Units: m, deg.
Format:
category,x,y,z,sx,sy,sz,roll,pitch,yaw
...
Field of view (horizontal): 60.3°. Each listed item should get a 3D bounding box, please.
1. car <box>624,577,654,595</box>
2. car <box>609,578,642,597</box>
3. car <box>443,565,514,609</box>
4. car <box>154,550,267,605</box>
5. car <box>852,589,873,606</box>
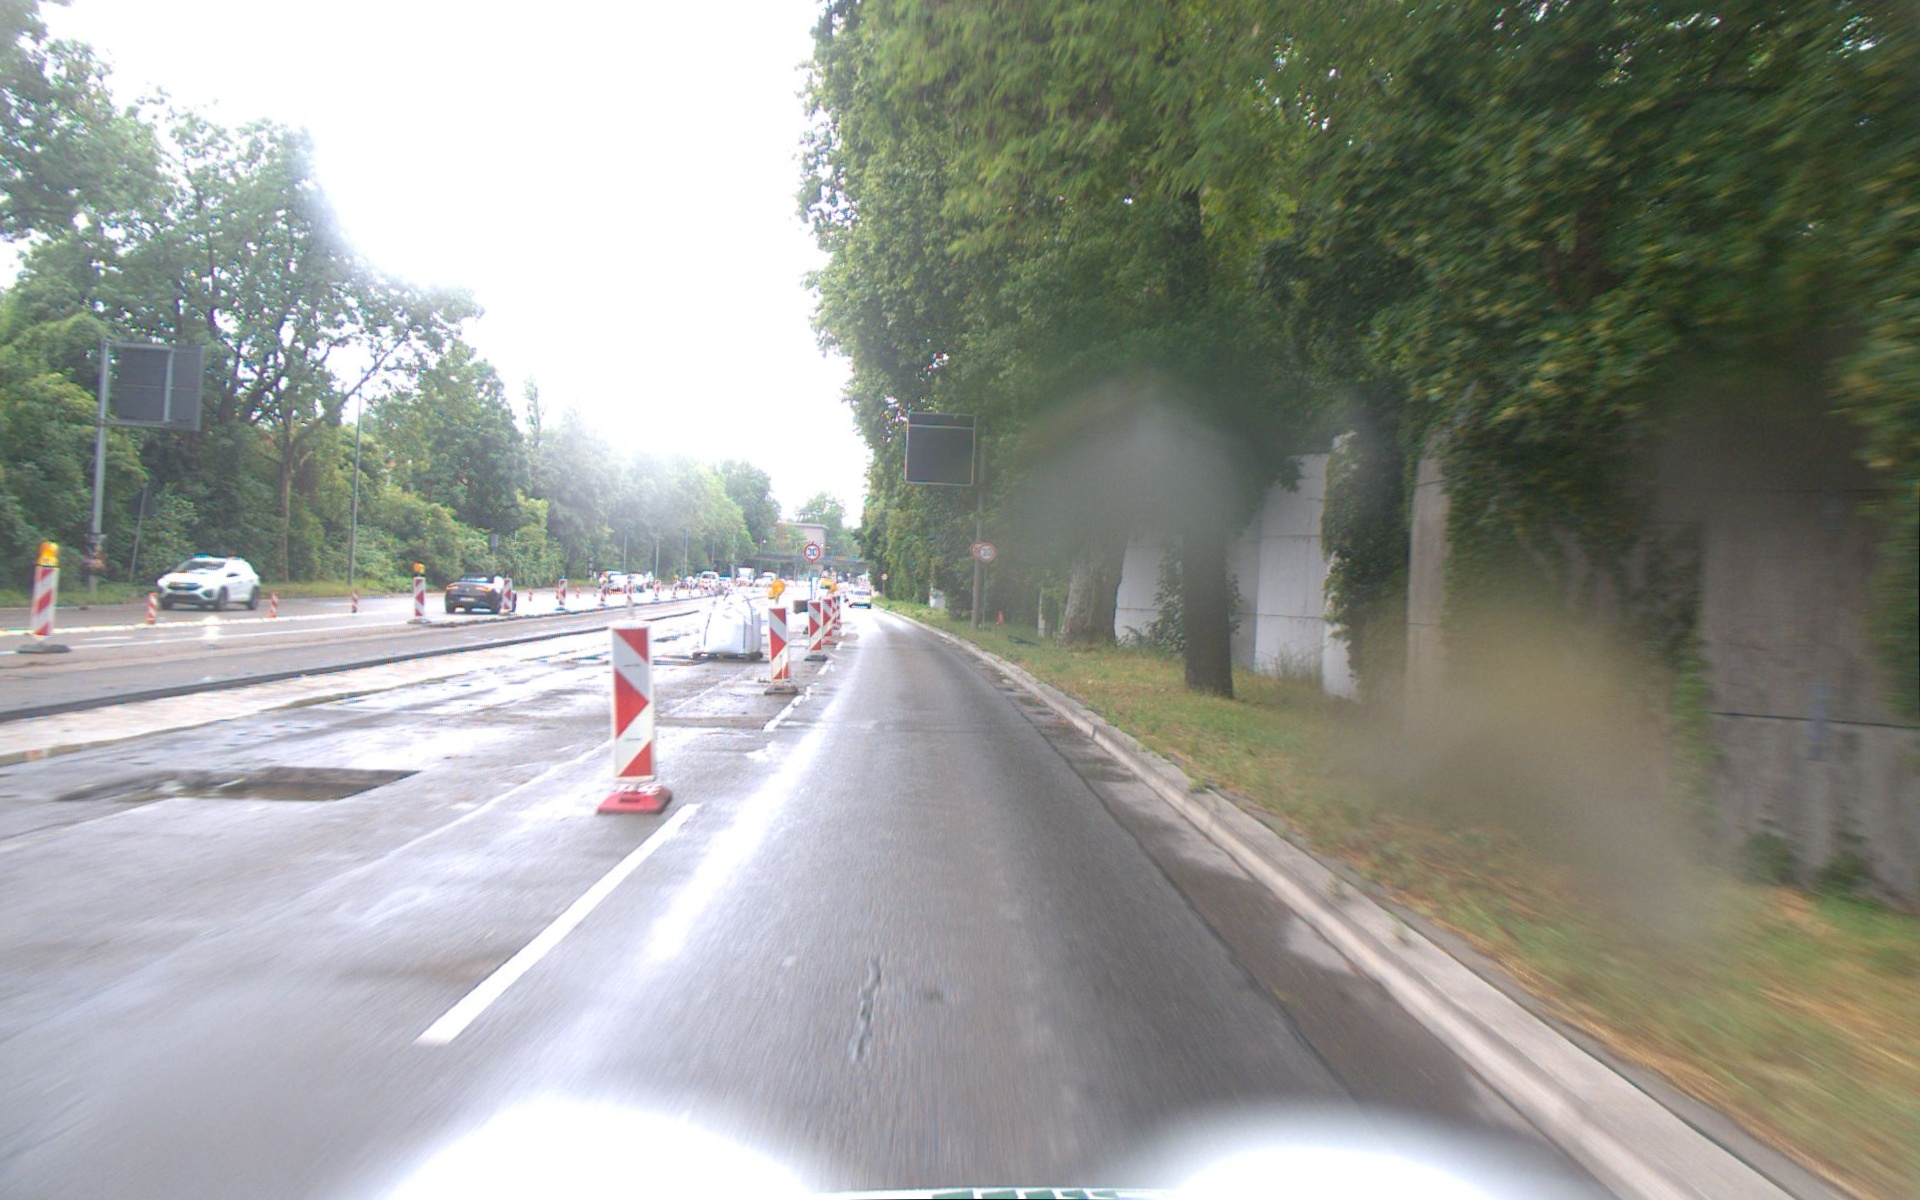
category,x,y,z,sx,sy,sz,roll,pitch,yaw
car,-25.138,-1.110,129.537,1.782,1.379,4.201,1,1,-4
car,-24.688,-0.923,122.177,1.782,1.379,4.386,1,1,-4
car,-17.174,-0.464,59.201,1.576,1.429,4.037,3,0,-4
car,-22.351,-0.662,49.477,1.633,1.568,4.156,0,0,-3
car,-7.877,-0.194,133.230,1.664,1.359,3.488,1,0,-4
